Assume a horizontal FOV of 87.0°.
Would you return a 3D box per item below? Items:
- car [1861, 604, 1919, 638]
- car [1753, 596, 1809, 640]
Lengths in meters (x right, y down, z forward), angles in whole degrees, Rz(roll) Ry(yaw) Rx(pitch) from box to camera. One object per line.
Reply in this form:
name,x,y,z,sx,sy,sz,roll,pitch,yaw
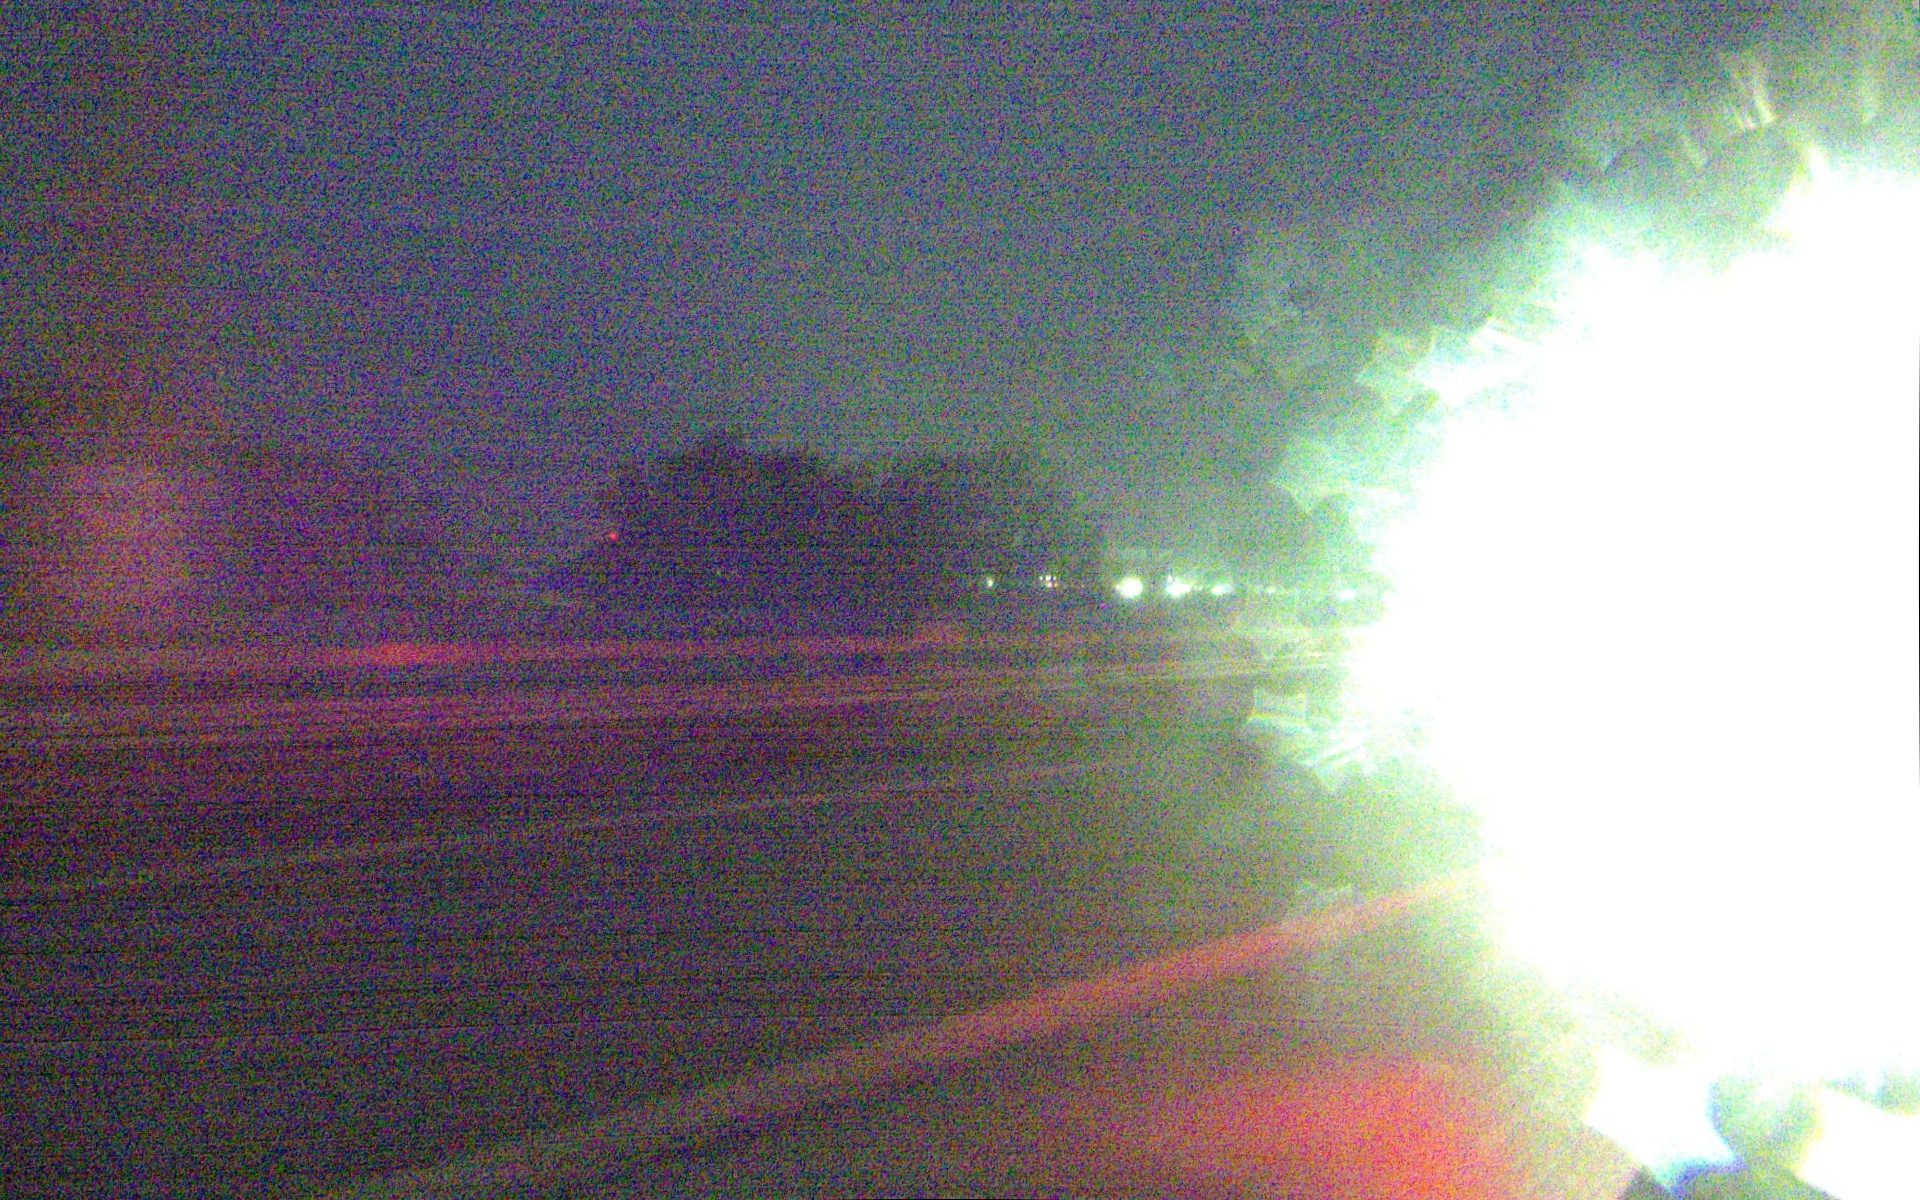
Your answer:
car,39.264,0.861,42.592,1.753,1.328,4.028,1,0,39
car,33.811,0.712,41.713,1.733,1.705,4.062,0,0,39
